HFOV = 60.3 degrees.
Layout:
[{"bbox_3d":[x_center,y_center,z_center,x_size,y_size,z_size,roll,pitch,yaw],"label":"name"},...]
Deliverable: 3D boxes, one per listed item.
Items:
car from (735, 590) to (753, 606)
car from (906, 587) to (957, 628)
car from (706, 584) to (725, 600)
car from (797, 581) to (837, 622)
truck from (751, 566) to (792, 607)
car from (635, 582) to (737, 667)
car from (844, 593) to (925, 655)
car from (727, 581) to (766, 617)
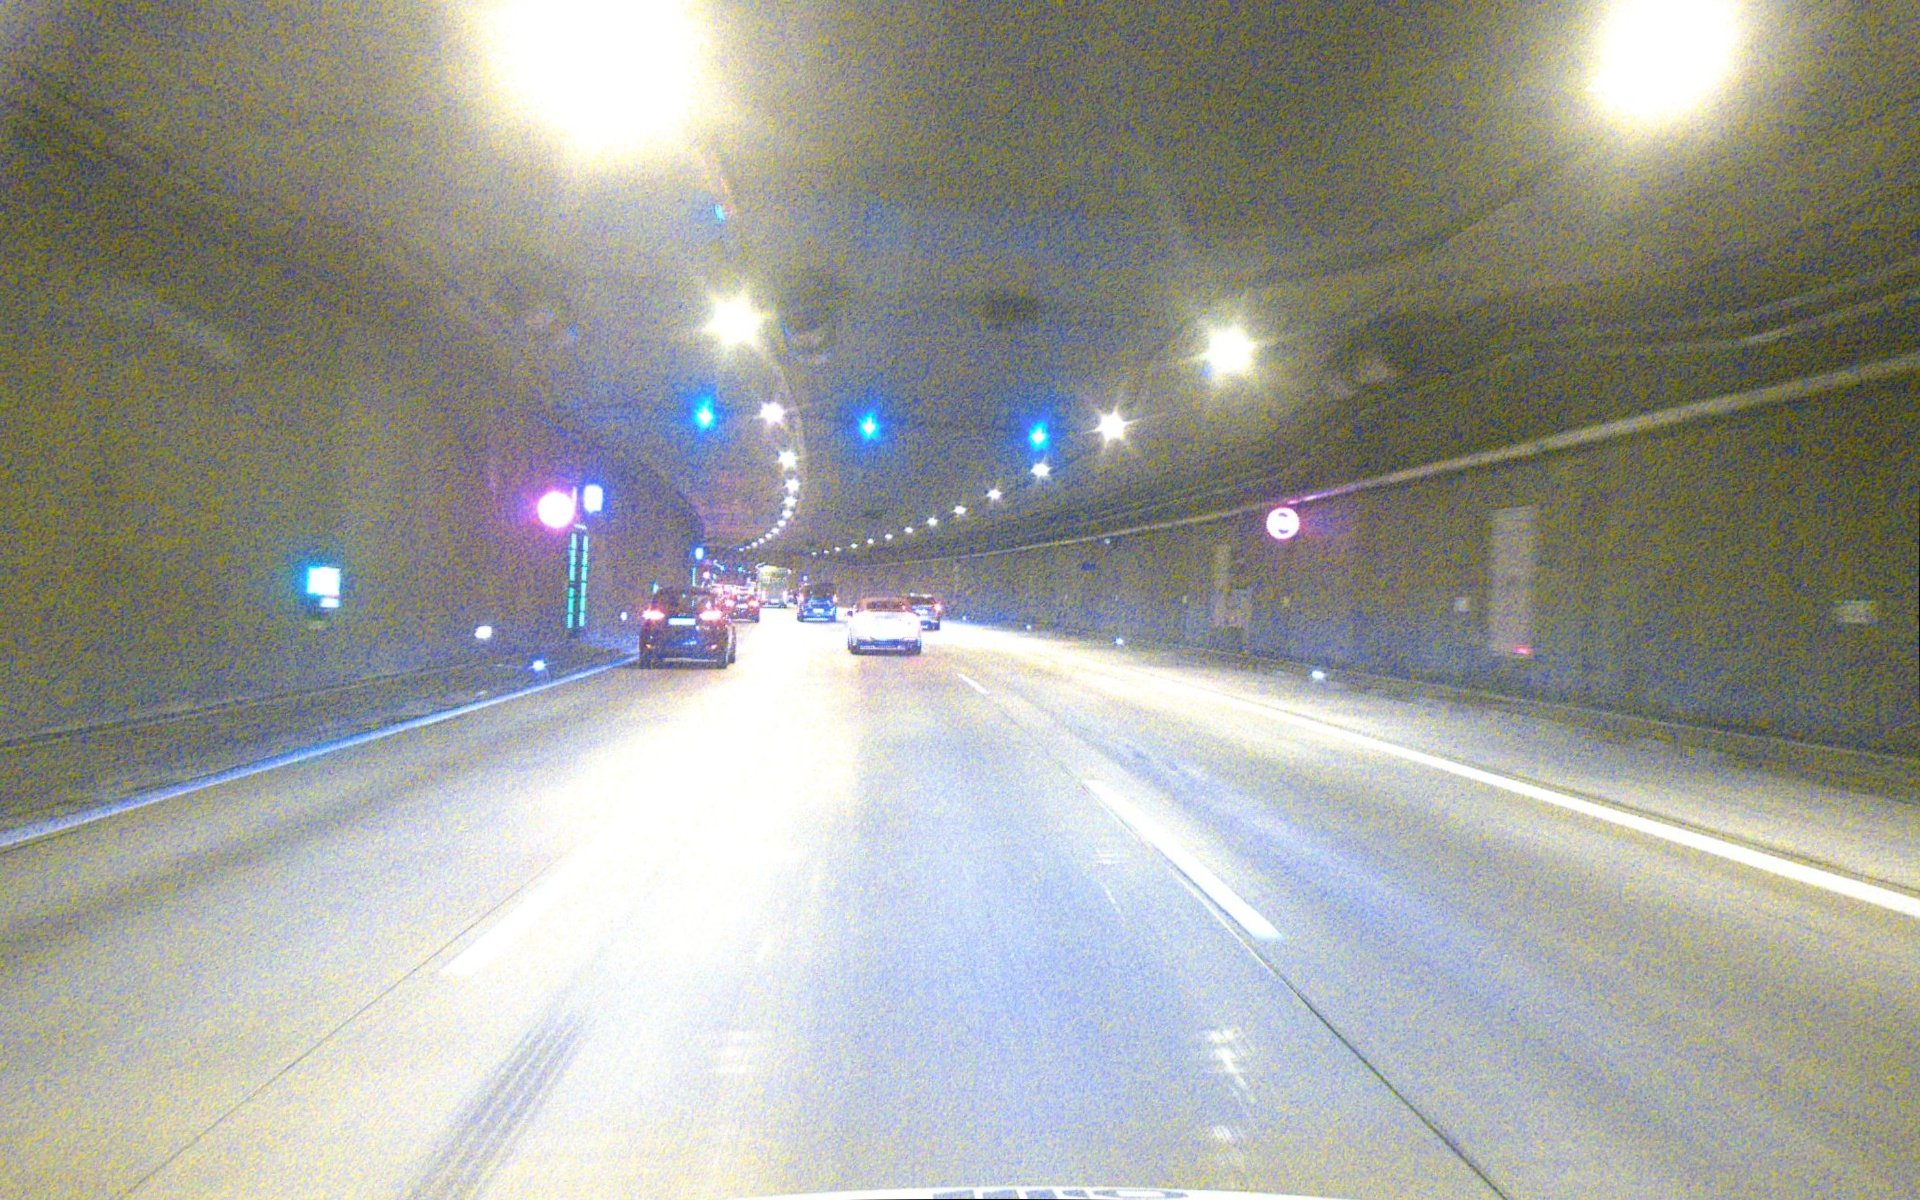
[{"bbox_3d":[-24.487,-0.225,187.612,1.955,1.785,3.994,2,0,-7],"label":"car"},{"bbox_3d":[-1.233,0.318,69.122,1.804,1.630,3.995,1,0,-5],"label":"car"},{"bbox_3d":[-25.685,-0.851,173.945,1.956,1.557,3.992,2,0,-8],"label":"car"},{"bbox_3d":[-7.236,0.069,83.334,1.955,2.006,3.995,0,0,-6],"label":"car"},{"bbox_3d":[-15.588,-1.129,136.345,3.025,3.167,10.012,2,1,-8],"label":"truck"},{"bbox_3d":[-5.560,0.461,33.895,1.750,1.626,3.797,1,0,-5],"label":"car"},{"bbox_3d":[-1.984,0.582,42.532,1.954,1.509,3.996,1,0,-4],"label":"car"},{"bbox_3d":[-10.395,-0.040,80.707,1.766,1.713,3.994,1,0,-6],"label":"car"}]
